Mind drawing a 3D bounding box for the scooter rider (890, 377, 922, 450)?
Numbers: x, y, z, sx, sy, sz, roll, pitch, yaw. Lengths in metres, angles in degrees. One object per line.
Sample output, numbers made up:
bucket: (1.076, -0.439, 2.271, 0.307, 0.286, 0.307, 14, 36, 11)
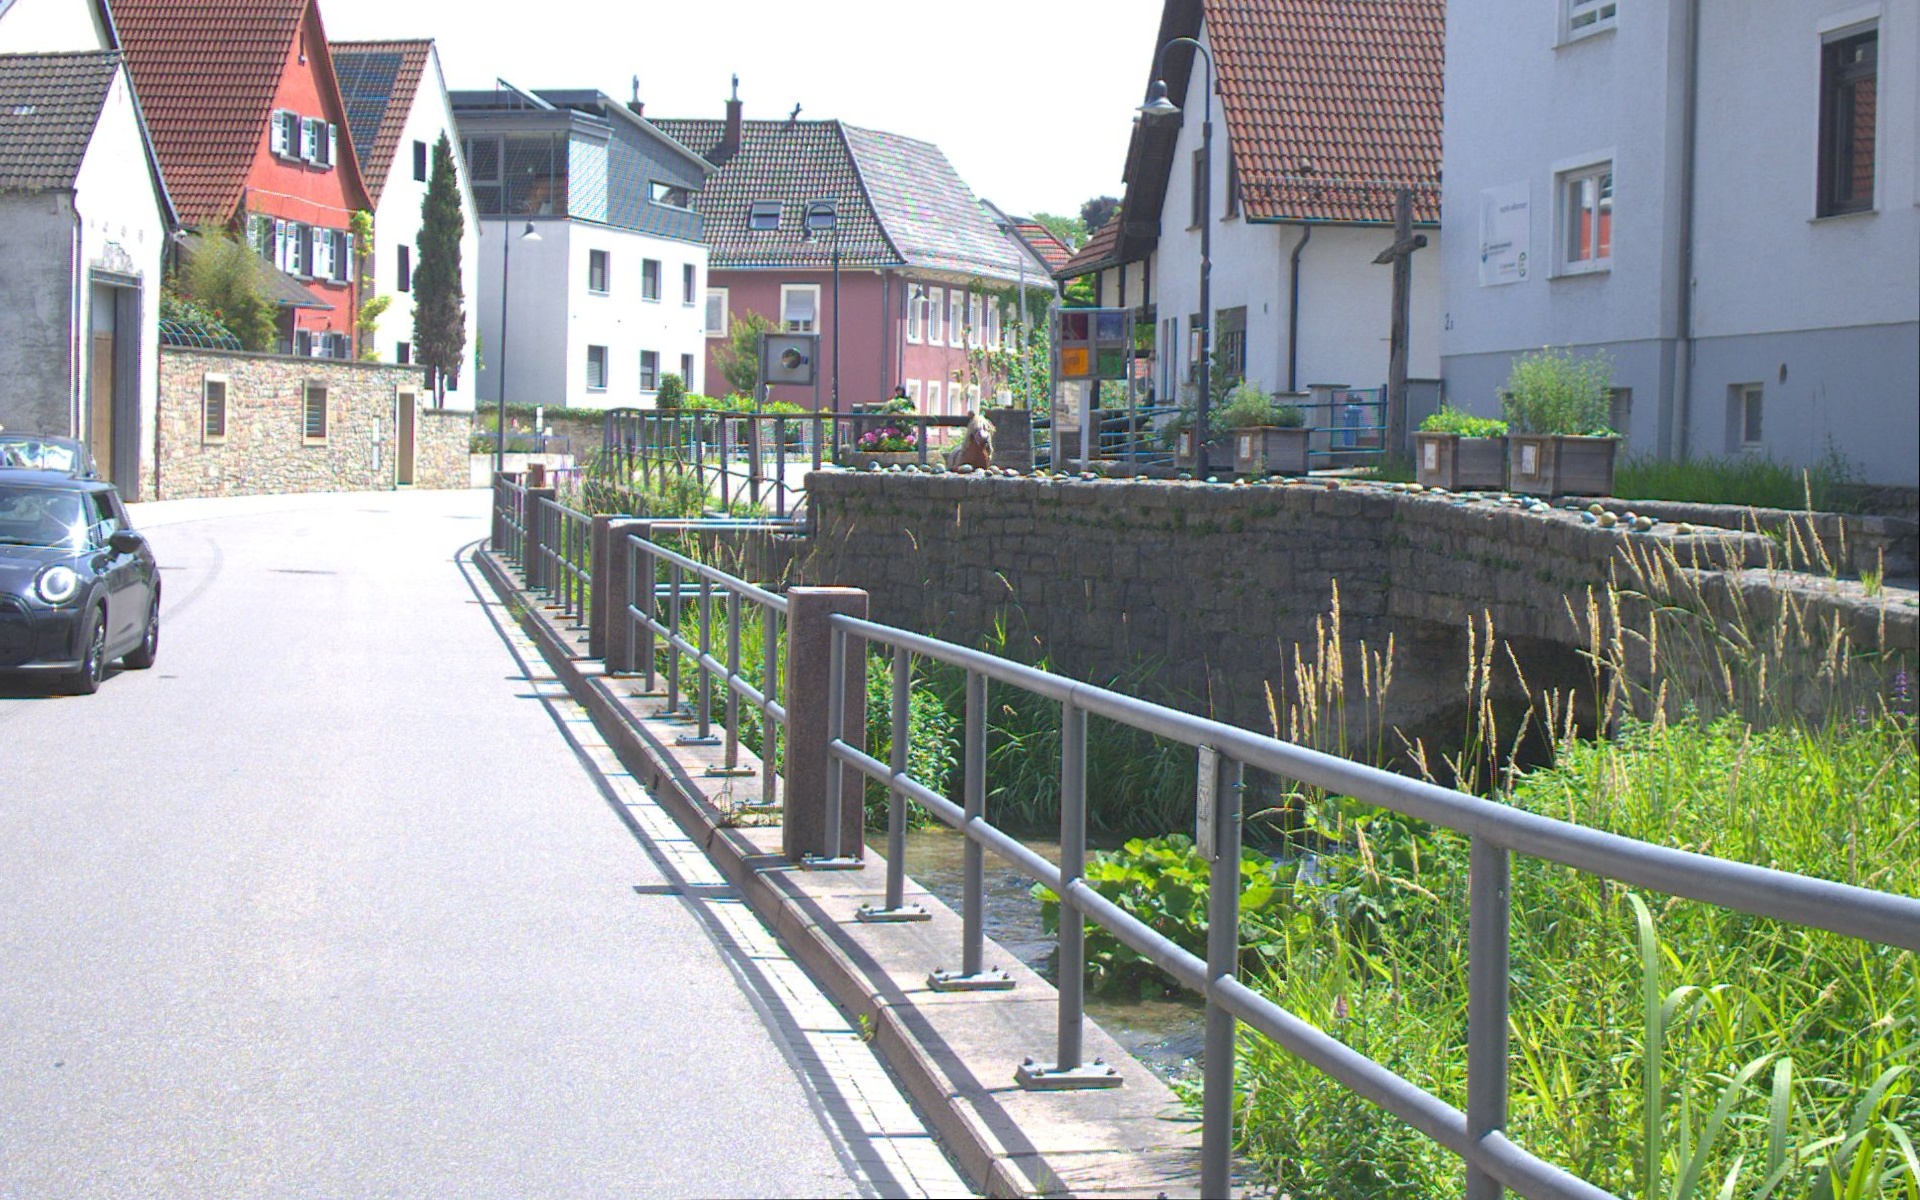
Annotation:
scooter rider: (-1.308, -4.493, 82.694, 0.641, 1.725, 0.554, 2, 2, -9)

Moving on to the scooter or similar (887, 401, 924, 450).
scooter or similar: (-1.309, -4.191, 82.649, 0.641, 1.138, 1.812, 0, 3, -9)

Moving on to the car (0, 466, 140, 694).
car: (-6.778, -0.209, 24.262, 1.698, 1.460, 4.437, 1, 2, -11)

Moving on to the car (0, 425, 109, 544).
car: (-12.843, -1.620, 47.332, 1.716, 1.524, 3.858, 0, 3, -7)

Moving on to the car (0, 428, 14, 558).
car: (-11.528, -1.158, 37.136, 1.884, 1.459, 4.670, 4, 3, -9)
